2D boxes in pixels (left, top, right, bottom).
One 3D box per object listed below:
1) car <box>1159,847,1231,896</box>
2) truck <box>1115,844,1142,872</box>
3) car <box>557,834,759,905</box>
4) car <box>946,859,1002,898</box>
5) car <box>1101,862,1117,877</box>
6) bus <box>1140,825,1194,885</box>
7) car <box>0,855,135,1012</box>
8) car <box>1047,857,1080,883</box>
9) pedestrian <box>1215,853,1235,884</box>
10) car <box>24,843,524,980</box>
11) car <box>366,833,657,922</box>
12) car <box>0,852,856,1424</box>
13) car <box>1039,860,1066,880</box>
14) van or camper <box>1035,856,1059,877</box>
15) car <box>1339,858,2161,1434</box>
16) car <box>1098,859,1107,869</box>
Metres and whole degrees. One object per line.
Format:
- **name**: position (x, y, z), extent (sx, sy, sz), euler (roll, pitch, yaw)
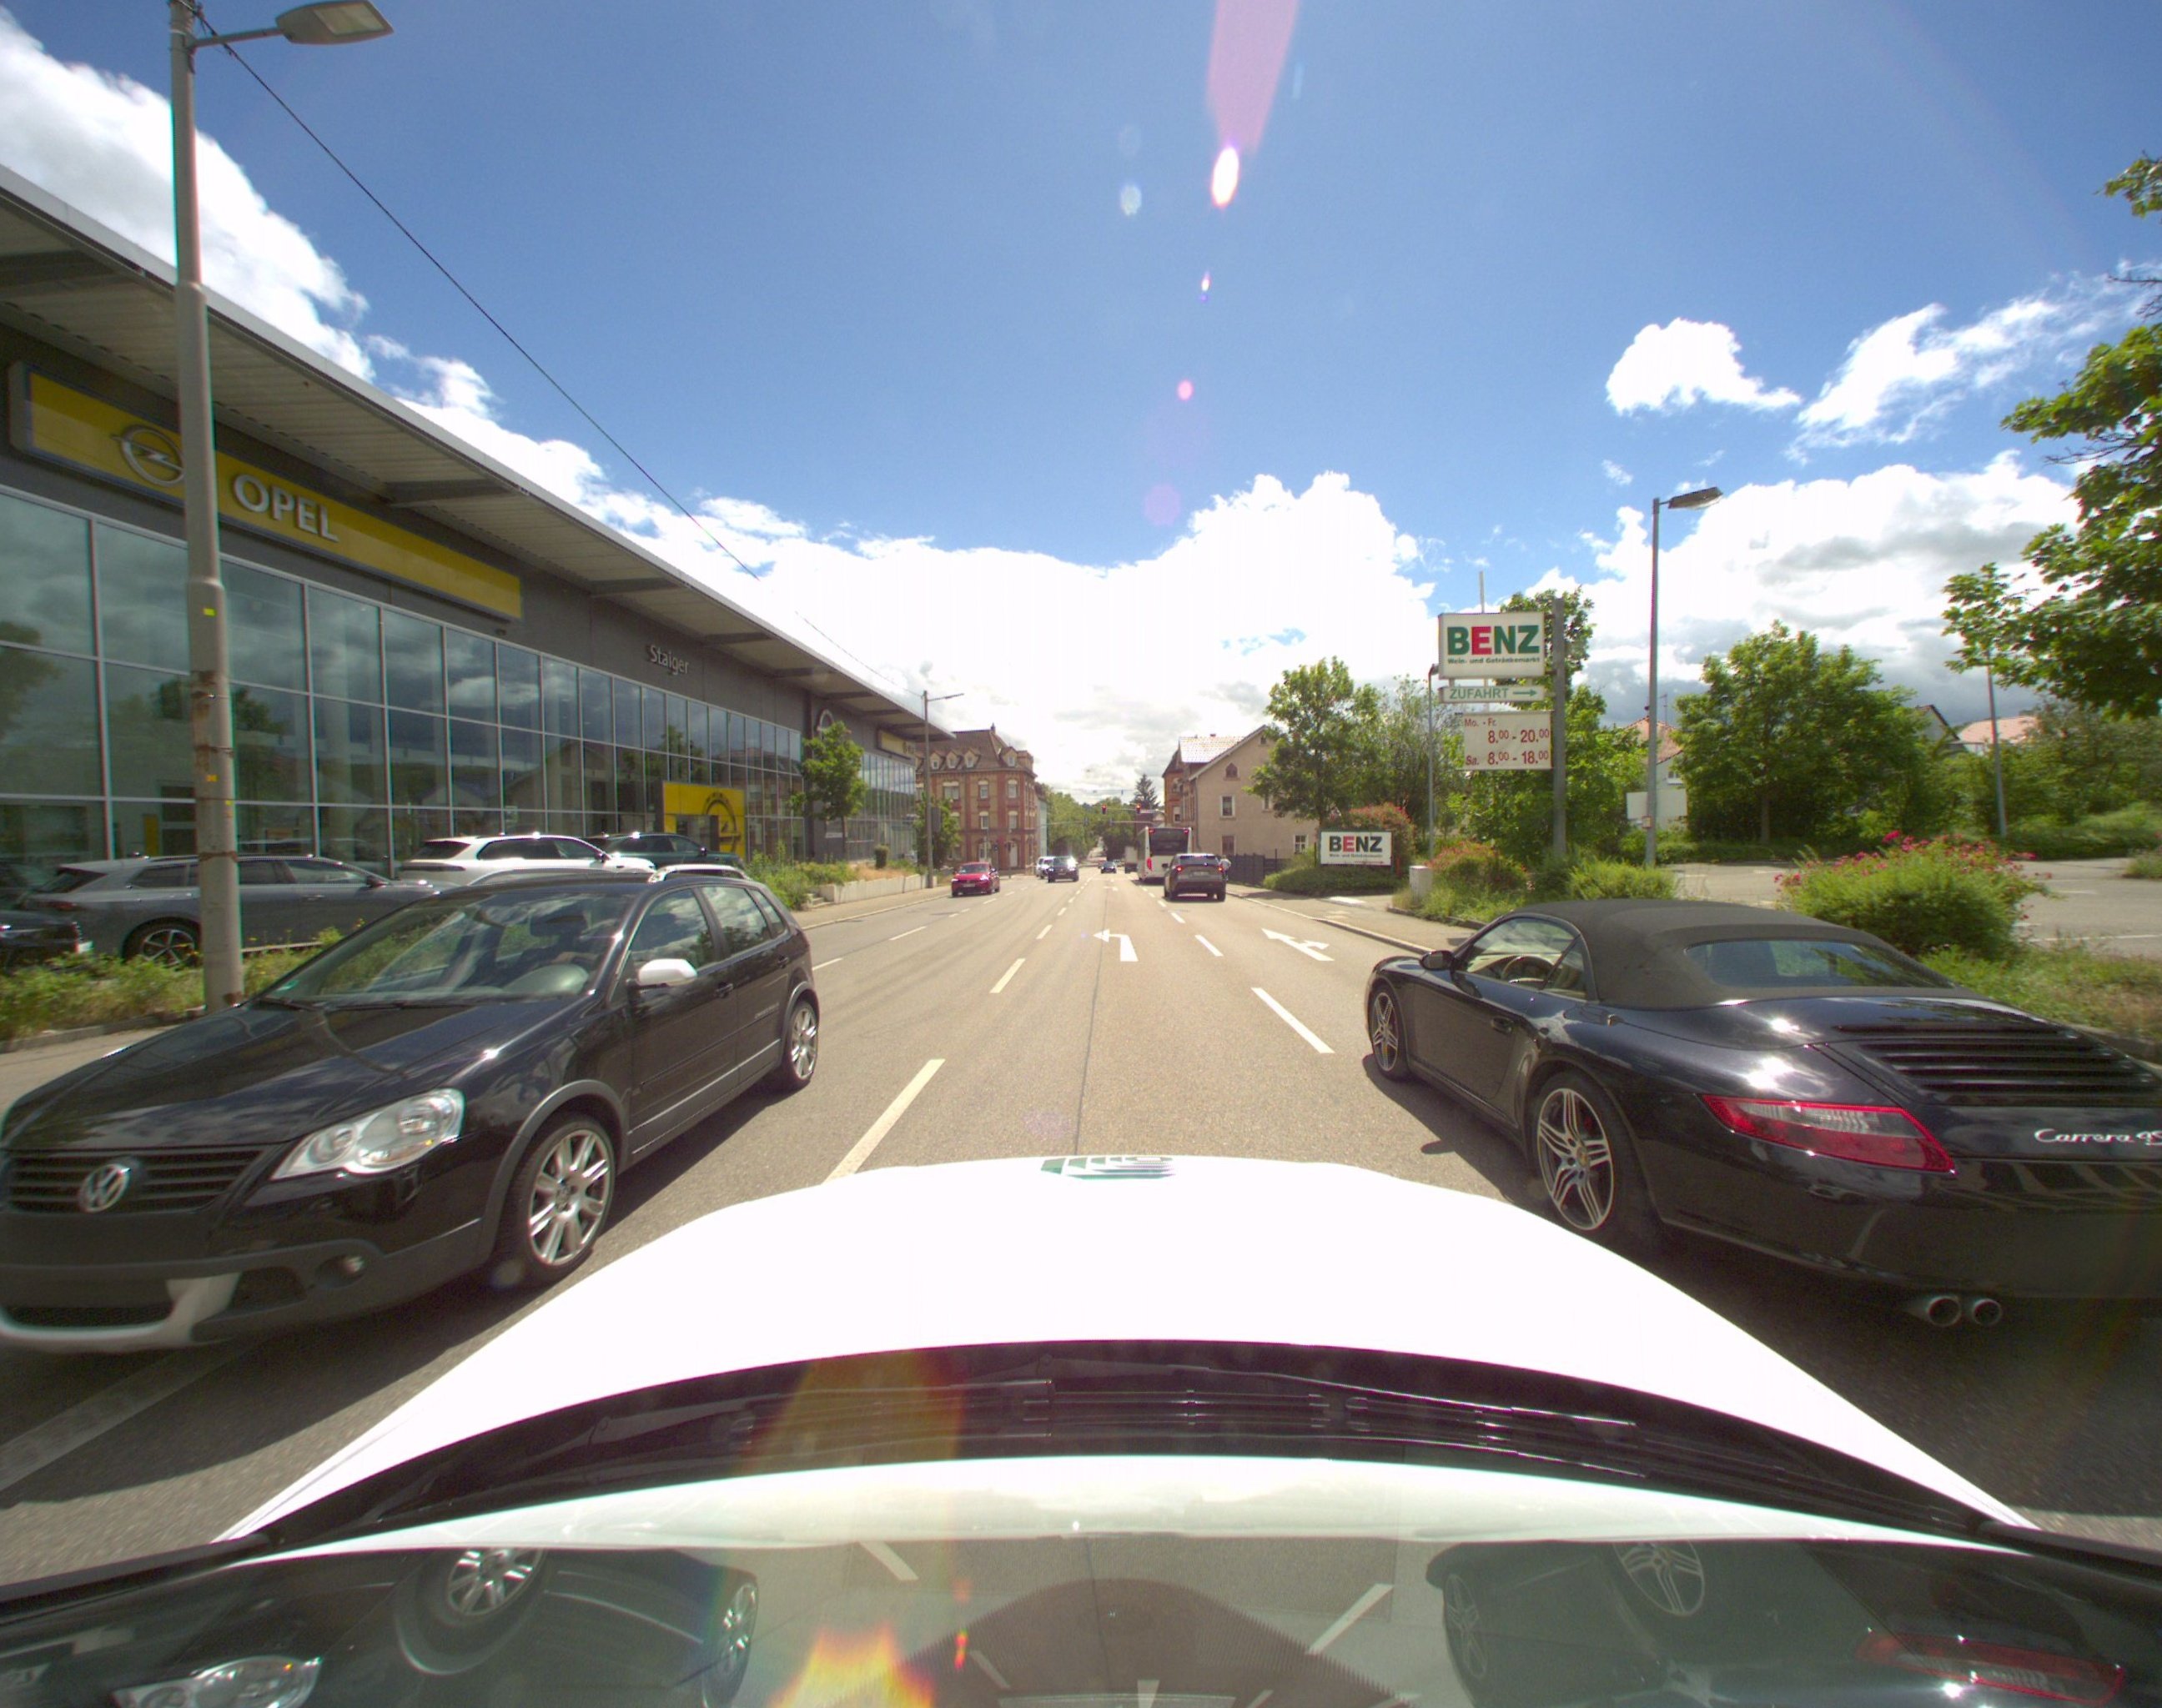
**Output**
- **car**: position (3.916, 0.654, 28.581), extent (1.924, 1.583, 4.206), euler (-1, -2, 0)
- **truck**: position (5.680, 0.464, 98.244), extent (2.658, 3.108, 9.034), euler (-2, 0, 0)
- **car**: position (-11.295, 0.332, 22.113), extent (1.975, 1.698, 4.512), euler (0, 2, 28)
- **car**: position (-4.671, 1.028, 35.982), extent (1.865, 1.491, 3.848), euler (-4, 0, 0)
- **car**: position (3.324, 1.835, 98.550), extent (1.857, 1.666, 4.260), euler (-1, 0, 1)
- **bus**: position (5.074, -0.145, 50.160), extent (2.790, 3.197, 12.210), euler (-1, 2, 4)
- **car**: position (-12.400, 0.841, 7.514), extent (4.500, 1.509, 1.920), euler (-2, 0, -40)
- **car**: position (-1.092, 0.989, 52.483), extent (1.857, 1.540, 4.108), euler (-1, 0, 1)
- **pedestrian**: position (7.706, 0.783, 43.646), extent (0.810, 1.581, 1.070), euler (-3, -1, 1)
- **car**: position (-11.402, 0.643, 12.025), extent (1.877, 1.450, 4.863), euler (0, 2, 30)
- **car**: position (-11.527, 0.426, 16.905), extent (1.913, 1.573, 4.580), euler (-1, 0, 25)
- **car**: position (-2.754, 0.775, 4.343), extent (1.823, 1.509, 4.277), euler (-2, 0, 1)
- **car**: position (-2.273, 1.269, 65.417), extent (1.857, 1.540, 4.109), euler (-1, 0, 2)
- **van or camper**: position (-3.204, 1.197, 78.193), extent (1.963, 1.914, 5.130), euler (-1, 0, 1)
- **car**: position (2.908, 0.800, 4.269), extent (1.923, 1.376, 4.211), euler (-1, 2, 2)
- **car**: position (4.540, 2.159, 171.410), extent (1.826, 1.881, 4.001), euler (-2, 1, 1)
